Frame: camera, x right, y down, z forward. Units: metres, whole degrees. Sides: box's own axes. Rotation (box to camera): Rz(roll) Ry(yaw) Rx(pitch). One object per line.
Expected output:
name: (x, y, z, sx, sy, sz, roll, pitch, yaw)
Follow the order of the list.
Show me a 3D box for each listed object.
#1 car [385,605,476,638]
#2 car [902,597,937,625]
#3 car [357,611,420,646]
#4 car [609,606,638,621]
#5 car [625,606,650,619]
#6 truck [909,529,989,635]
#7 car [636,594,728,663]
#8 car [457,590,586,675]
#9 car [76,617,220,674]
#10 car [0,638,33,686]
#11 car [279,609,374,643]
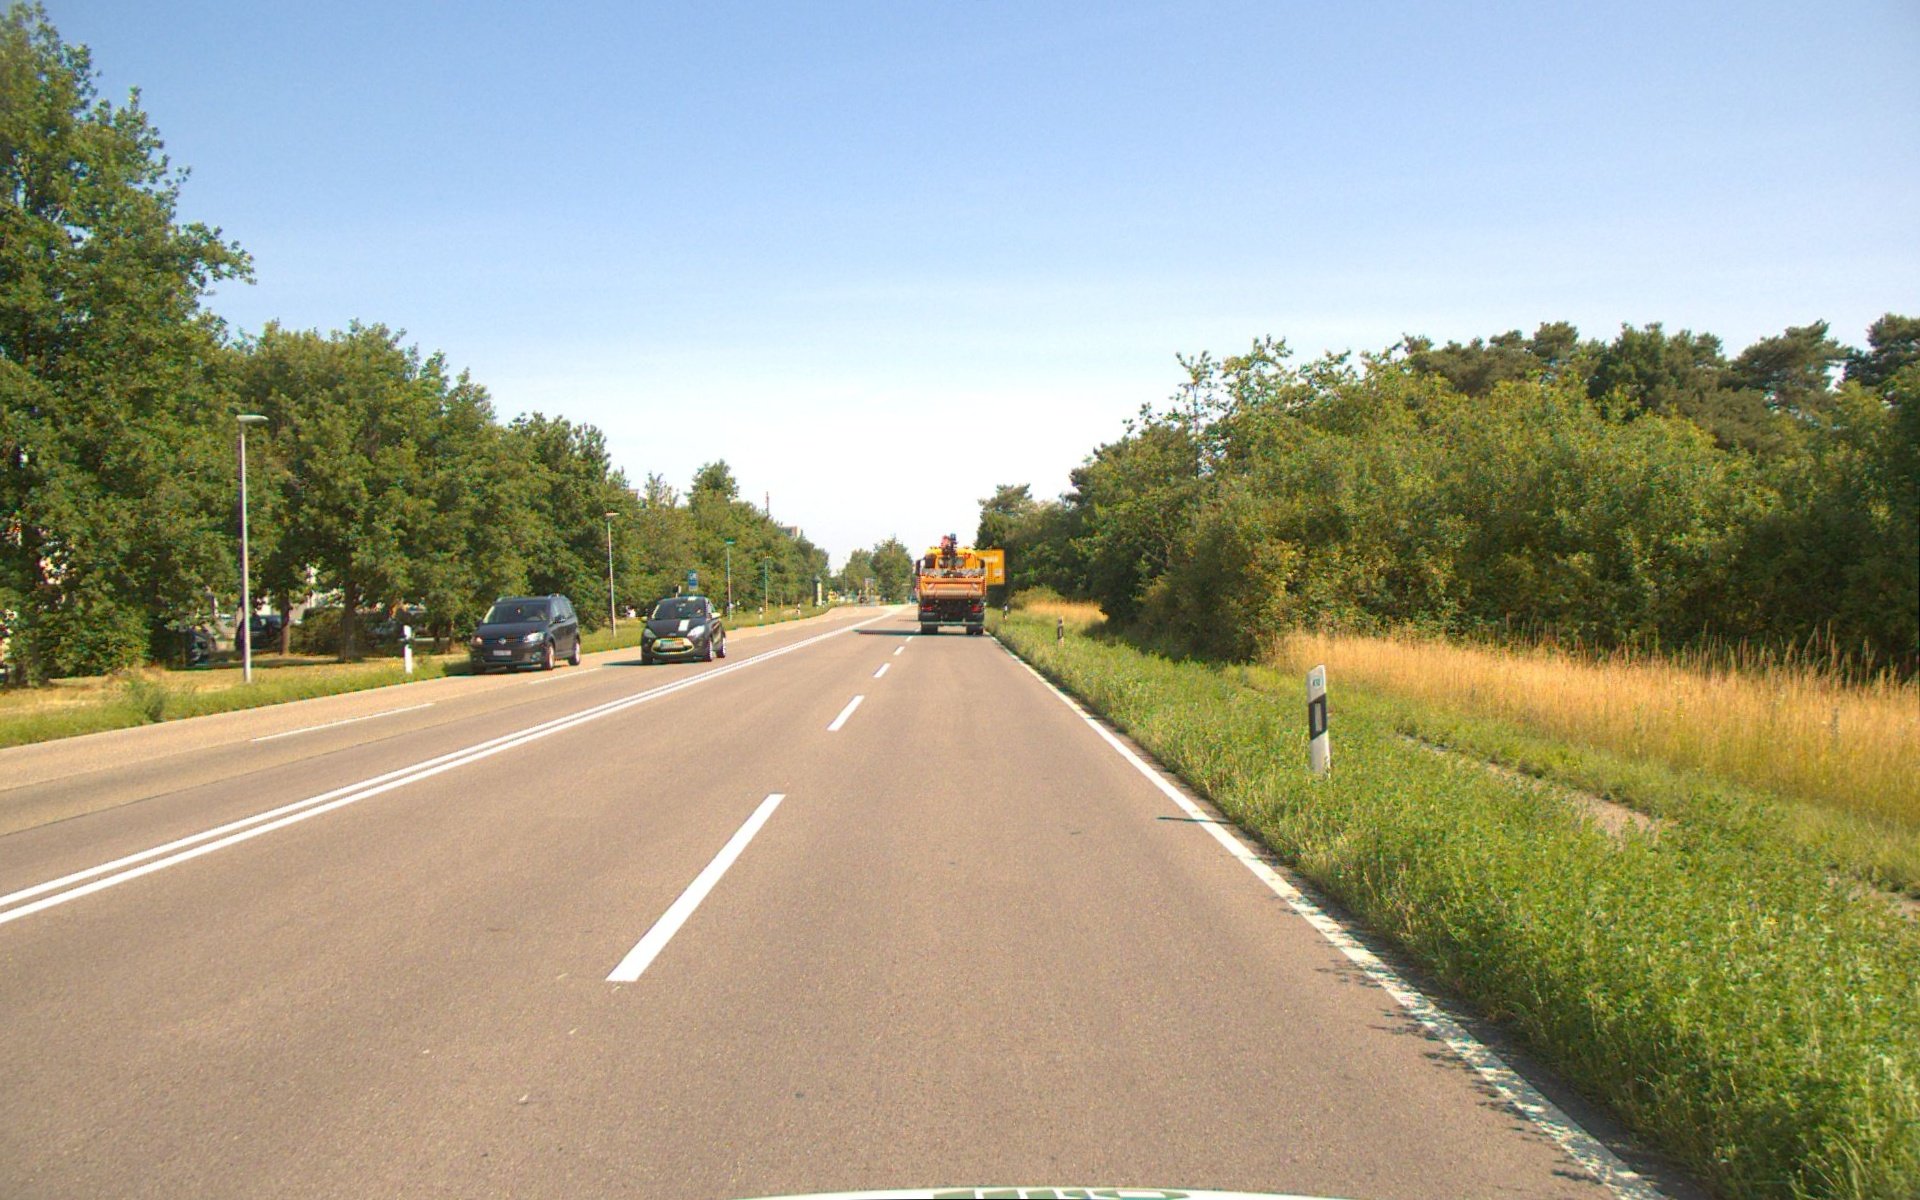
car: (-30.795, 1.240, 96.385, 2.028, 1.838, 5.007, -1, 0, 29)
car: (-2.394, 0.633, 97.268, 1.954, 1.611, 3.998, -1, 0, -3)
car: (-29.606, 1.458, 85.785, 1.890, 1.680, 4.190, -1, 0, -2)
car: (-35.931, 1.459, 176.864, 1.952, 1.462, 4.955, -1, 0, 1)
car: (-36.438, 1.404, 186.819, 1.953, 1.462, 4.609, -1, 0, -1)
truck: (-0.512, -0.676, 65.653, 2.814, 3.948, 7.395, 1, 0, -3)
car: (-6.464, 0.630, 38.805, 1.486, 1.475, 3.774, -3, 0, -1)
car: (-9.831, 0.687, 37.437, 1.789, 1.701, 4.388, -3, 0, -2)
car: (-29.449, 1.627, 60.082, 4.137, 1.761, 2.000, -3, 0, -1)
car: (-28.968, 1.866, 47.210, 3.906, 1.328, 1.863, -3, 0, 0)
car: (-36.555, 1.472, 95.532, 2.028, 1.838, 5.007, -1, 0, 29)
